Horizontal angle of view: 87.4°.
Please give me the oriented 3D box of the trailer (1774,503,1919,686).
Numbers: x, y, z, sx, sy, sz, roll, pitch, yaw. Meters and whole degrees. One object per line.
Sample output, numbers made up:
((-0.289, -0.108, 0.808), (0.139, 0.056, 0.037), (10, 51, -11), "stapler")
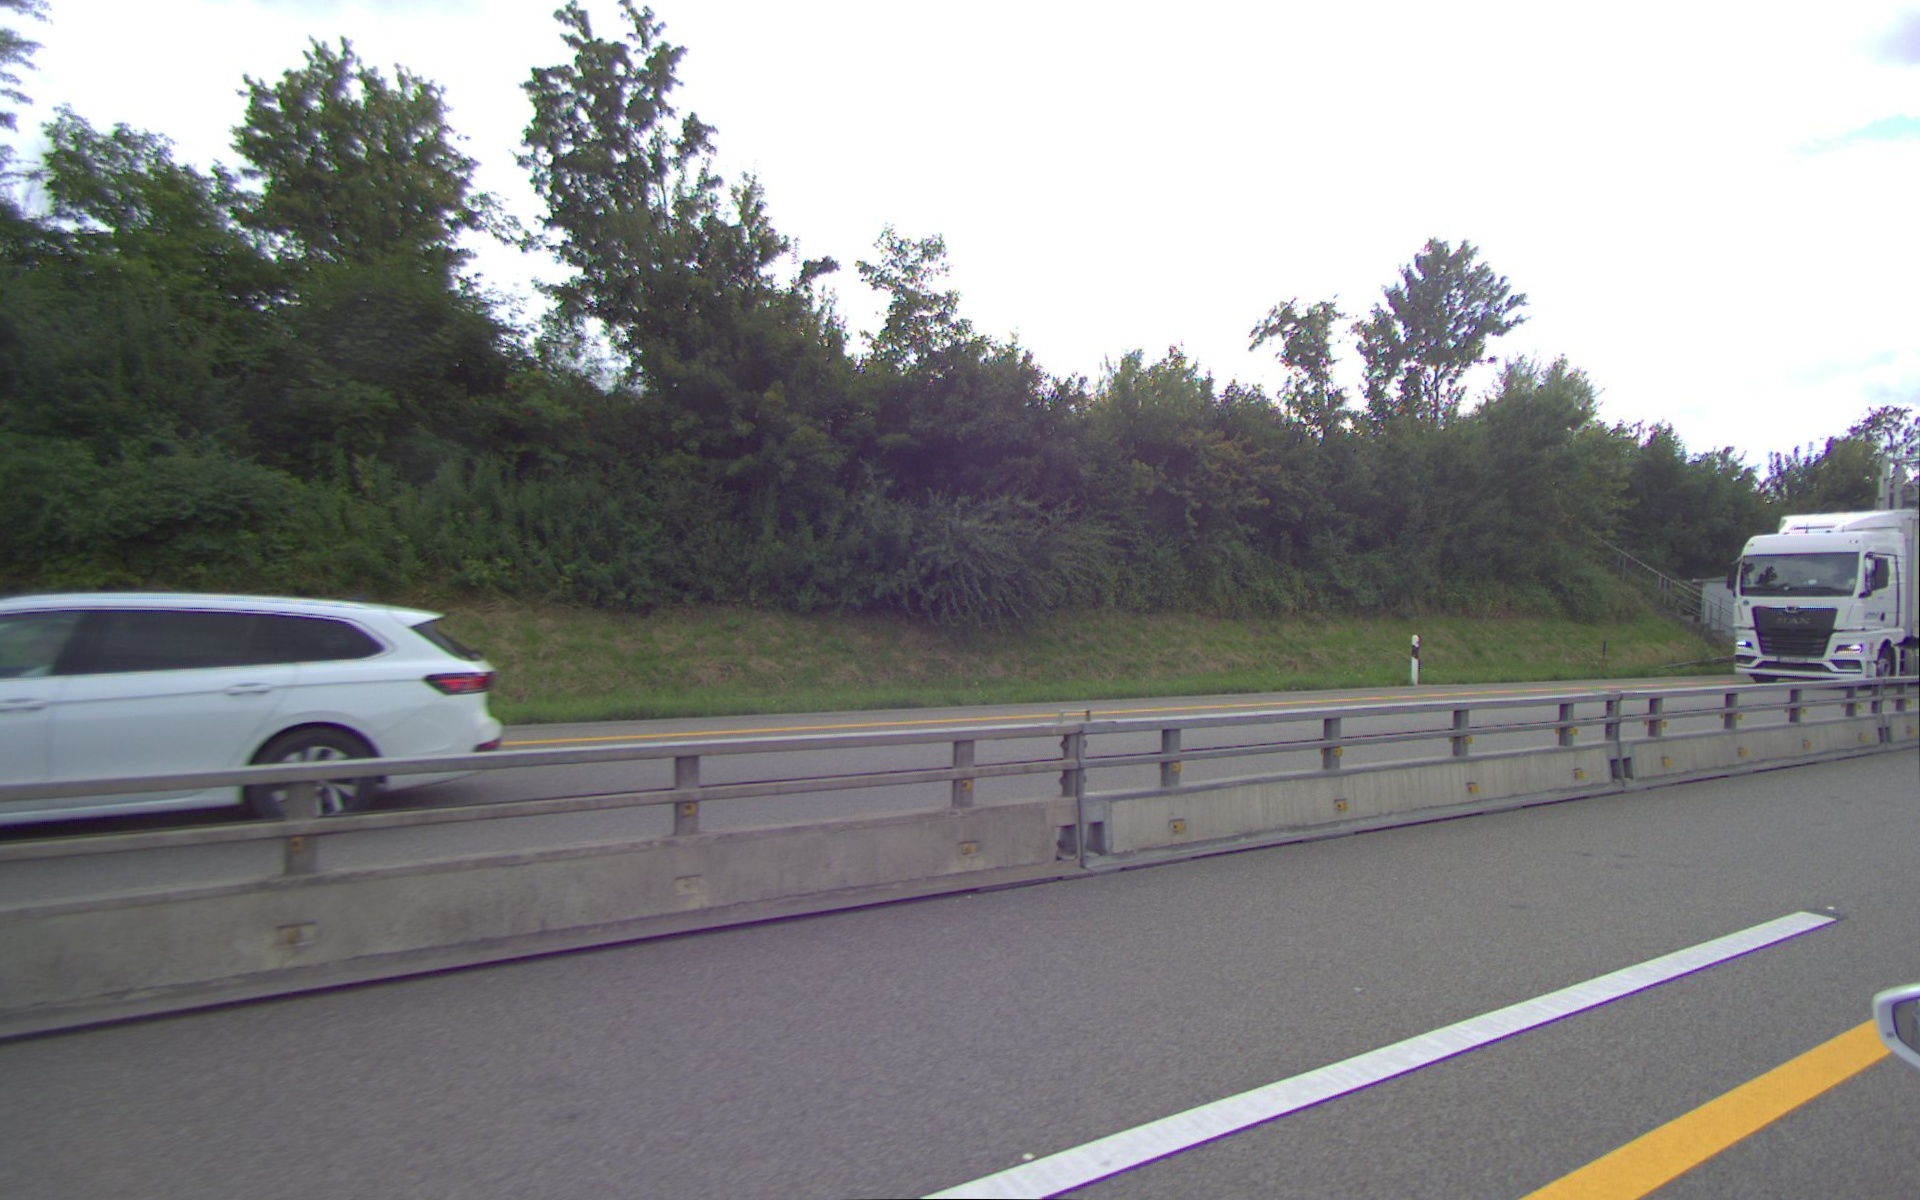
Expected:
((27.087, -0.062, 27.749), (13.831, 4.210, 2.585), (1, 1, -31), "trailer")

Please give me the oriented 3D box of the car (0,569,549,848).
((-5.340, 0.570, 6.376), (4.843, 1.488, 1.998), (1, 1, -30), "car")

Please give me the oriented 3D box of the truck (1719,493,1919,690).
((21.018, -0.161, 24.068), (5.555, 4.210, 2.585), (1, 1, -31), "truck")
